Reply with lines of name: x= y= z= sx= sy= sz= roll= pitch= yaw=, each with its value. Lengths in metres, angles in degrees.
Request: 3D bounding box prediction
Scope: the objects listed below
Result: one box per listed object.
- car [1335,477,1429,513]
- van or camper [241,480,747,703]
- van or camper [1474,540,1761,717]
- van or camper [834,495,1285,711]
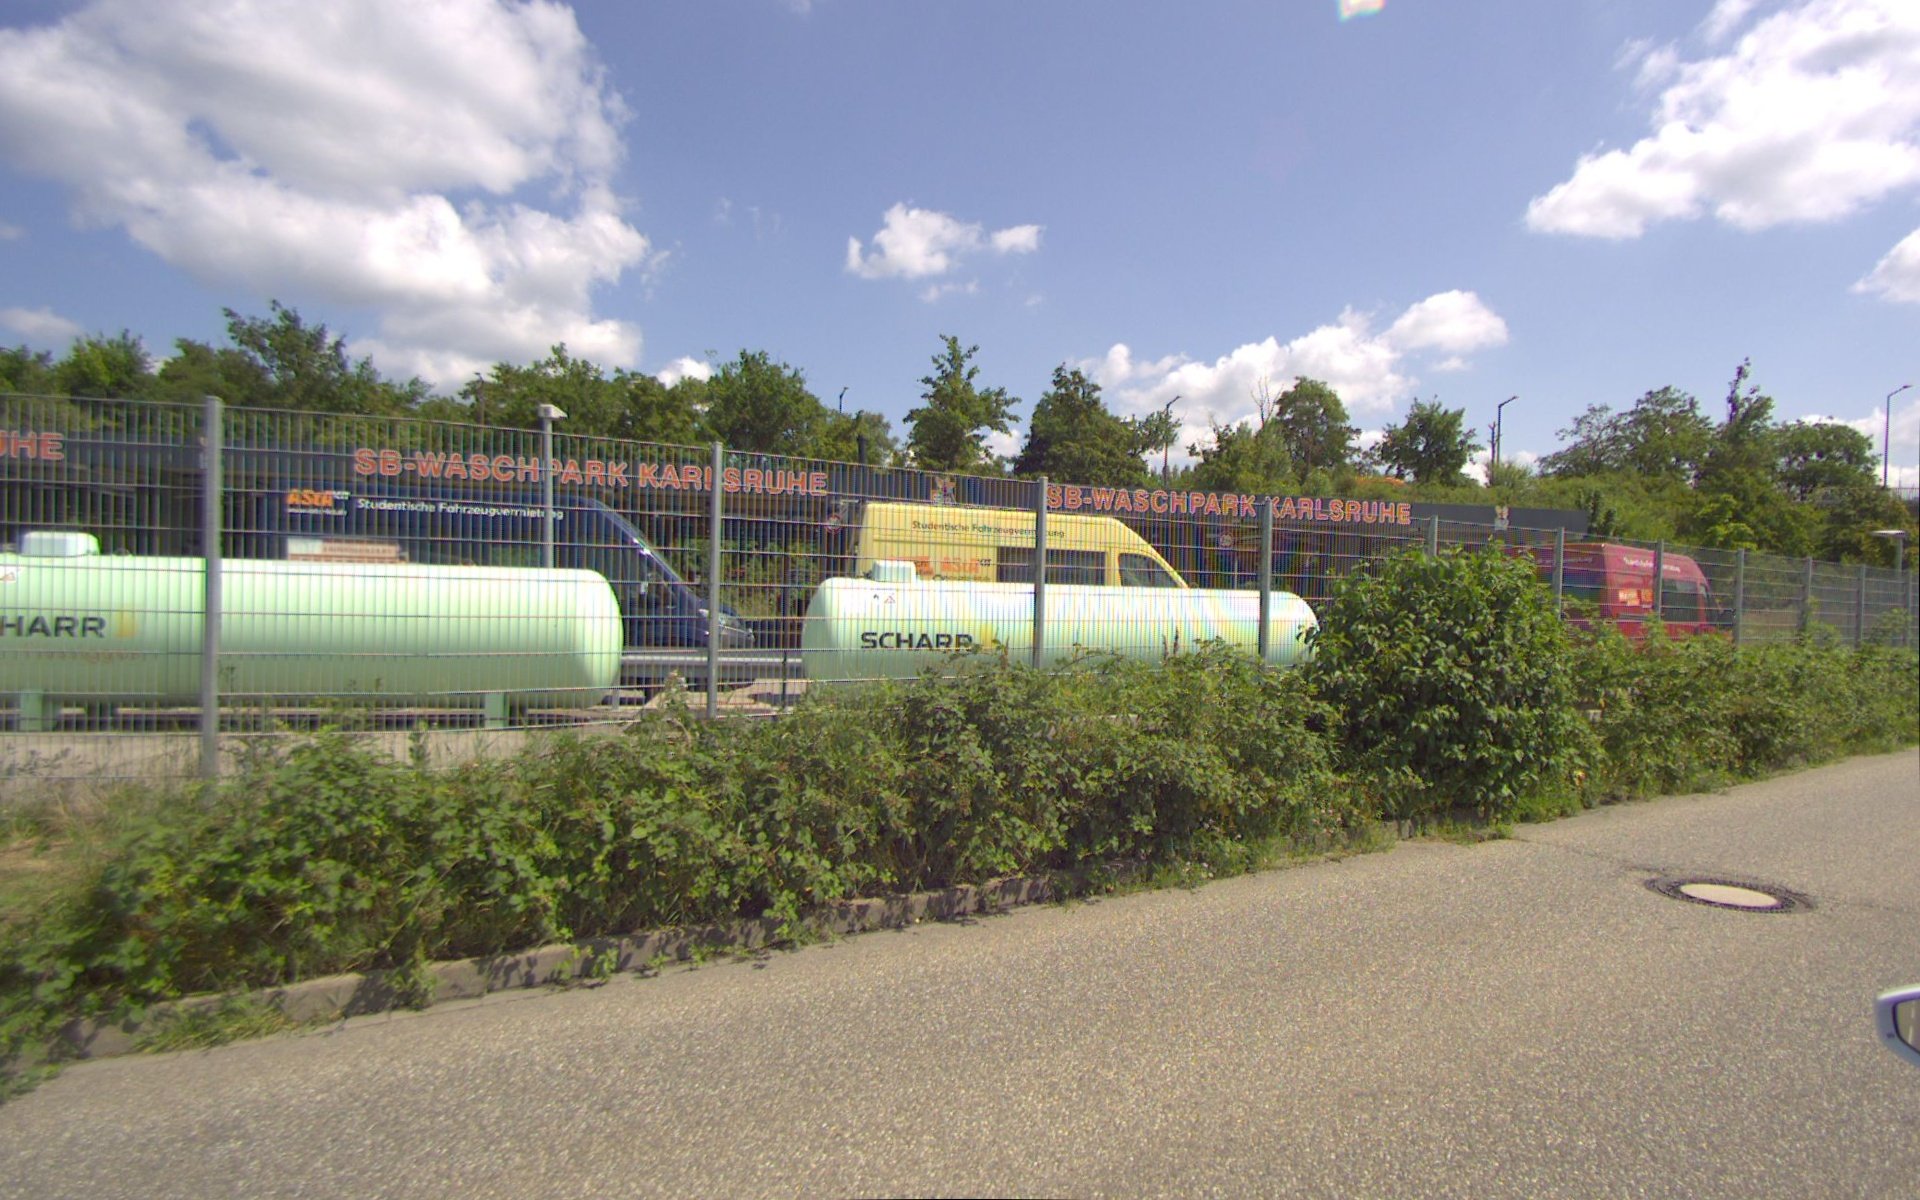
car: x=27.206 y=-6.792 z=64.924 sx=5.229 sy=2.040 sz=2.002 roll=1 pitch=-2 yaw=6
van or camper: x=-5.156 y=-0.043 z=11.861 sx=5.017 sy=2.246 sz=1.877 roll=2 pitch=0 yaw=-11
van or camper: x=11.254 y=0.488 z=17.037 sx=5.645 sy=2.547 sz=2.174 roll=1 pitch=-2 yaw=-35
van or camper: x=1.204 y=0.092 z=13.470 sx=5.559 sy=2.457 sz=2.245 roll=2 pitch=0 yaw=-11
